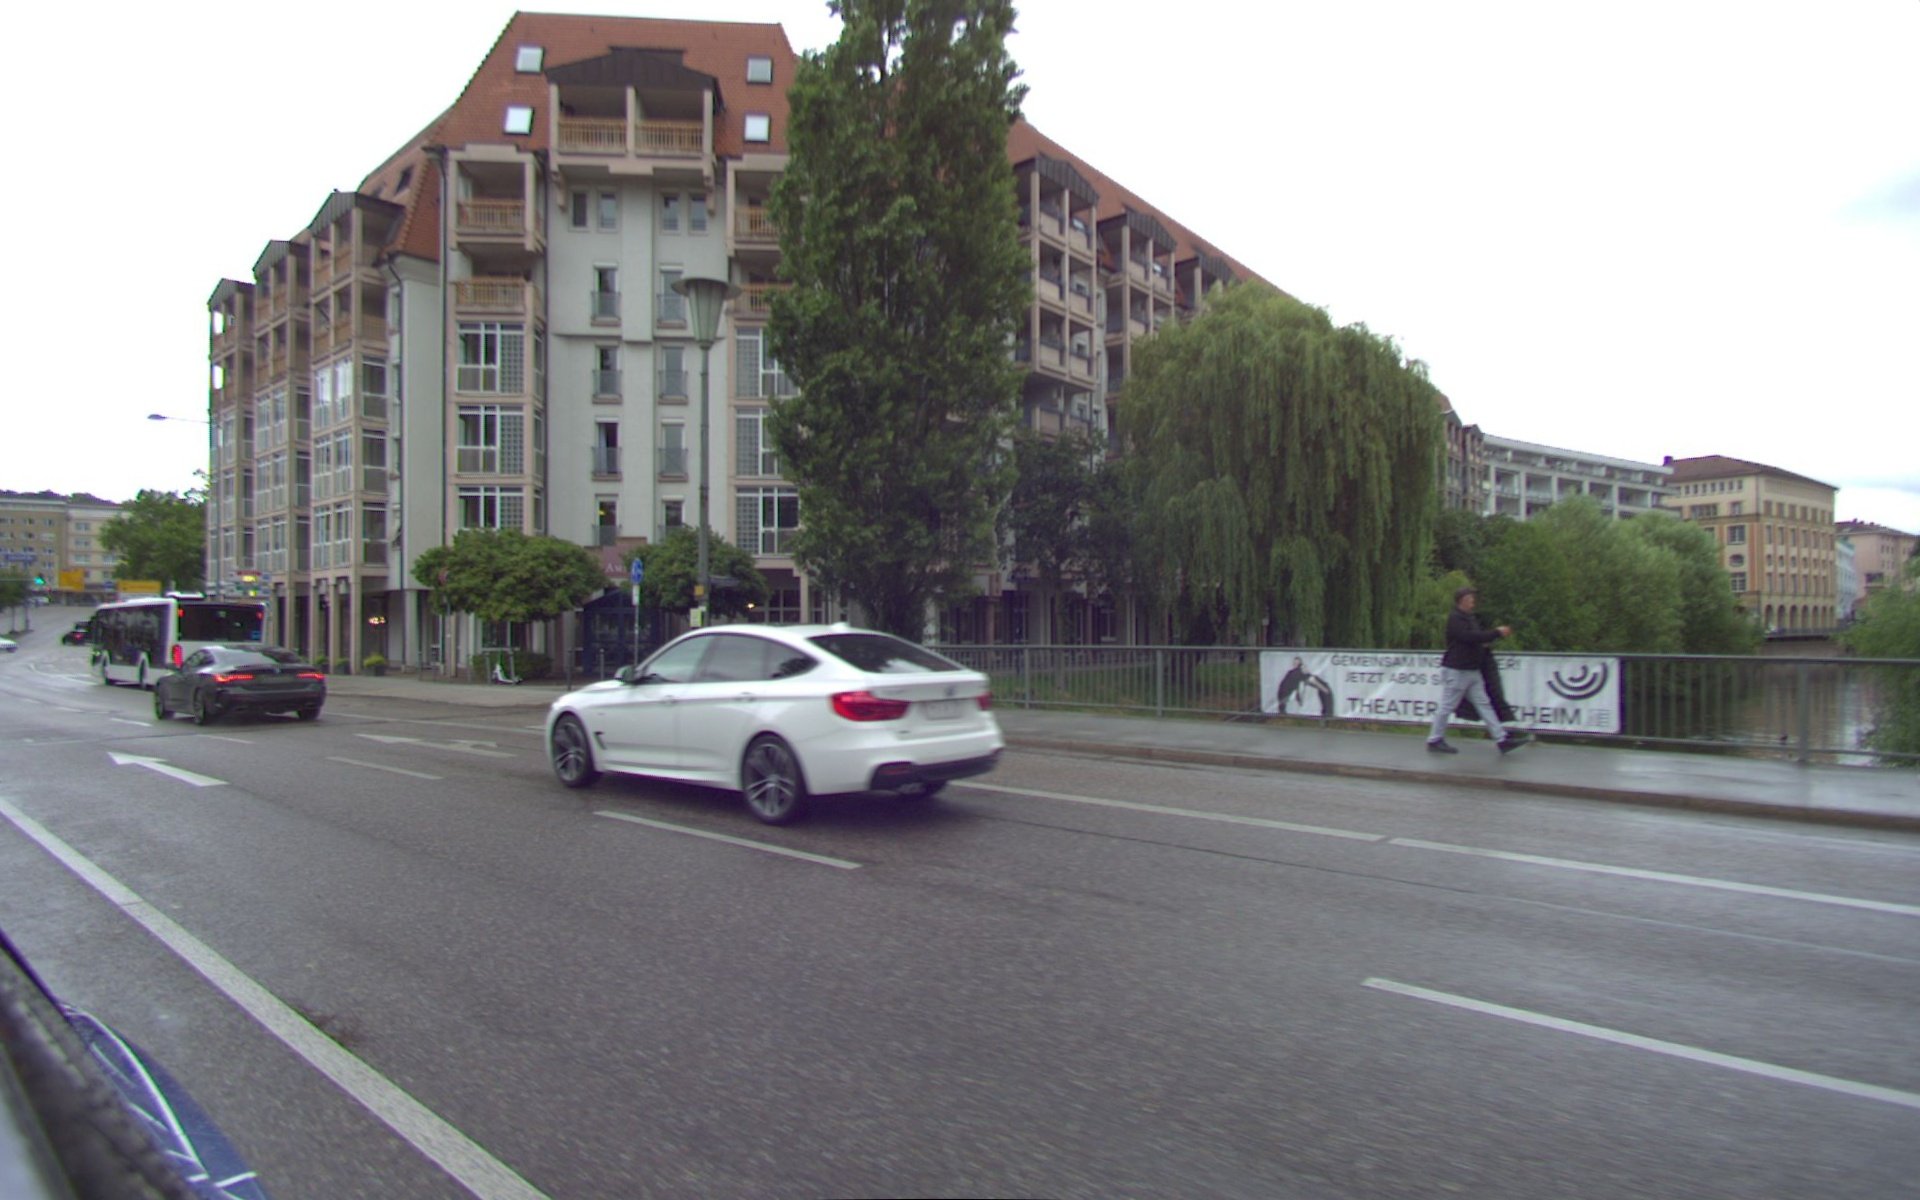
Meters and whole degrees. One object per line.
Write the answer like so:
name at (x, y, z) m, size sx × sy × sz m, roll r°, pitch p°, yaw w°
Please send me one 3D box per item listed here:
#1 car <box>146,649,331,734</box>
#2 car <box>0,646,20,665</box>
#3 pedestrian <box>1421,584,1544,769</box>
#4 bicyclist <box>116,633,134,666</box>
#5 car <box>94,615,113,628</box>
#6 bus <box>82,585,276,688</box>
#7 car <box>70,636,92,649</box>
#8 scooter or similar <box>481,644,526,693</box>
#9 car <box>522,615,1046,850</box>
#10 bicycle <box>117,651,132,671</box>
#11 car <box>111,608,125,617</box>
car at (-13.480, 1.613, 18.825) m, size 4.403 × 1.335 × 1.773 m, roll -2°, pitch -2°, yaw 40°
car at (-77.987, 4.449, 80.921) m, size 3.943 × 1.420 × 1.771 m, roll -1°, pitch 0°, yaw 0°
pedestrian at (5.421, 0.757, 10.512) m, size 0.959 × 1.807 × 0.690 m, roll -2°, pitch -1°, yaw 44°
bicyclist at (-48.385, 2.844, 58.646) m, size 0.781 × 1.904 × 0.955 m, roll 1°, pitch -2°, yaw -39°
car at (-118.697, 2.922, 140.215) m, size 1.804 × 1.749 × 4.319 m, roll 1°, pitch -1°, yaw -38°
bus at (-27.404, 1.474, 35.159) m, size 12.226 × 3.099 × 2.716 m, roll -4°, pitch -6°, yaw 40°
car at (-104.309, 5.017, 120.100) m, size 1.737 × 1.431 × 4.100 m, roll 3°, pitch -3°, yaw -44°
scooter or similar at (-13.378, 2.001, 29.668) m, size 1.569 × 1.324 × 0.477 m, roll 1°, pitch 0°, yaw 37°
car at (-1.754, 0.942, 8.826) m, size 4.816 × 1.521 × 1.817 m, roll -2°, pitch -2°, yaw 40°
bicycle at (-48.568, 3.523, 58.807) m, size 0.642 × 1.119 × 2.061 m, roll 1°, pitch -2°, yaw -40°
car at (-141.915, 2.141, 170.598) m, size 1.691 × 1.490 × 3.966 m, roll 3°, pitch -2°, yaw -38°
